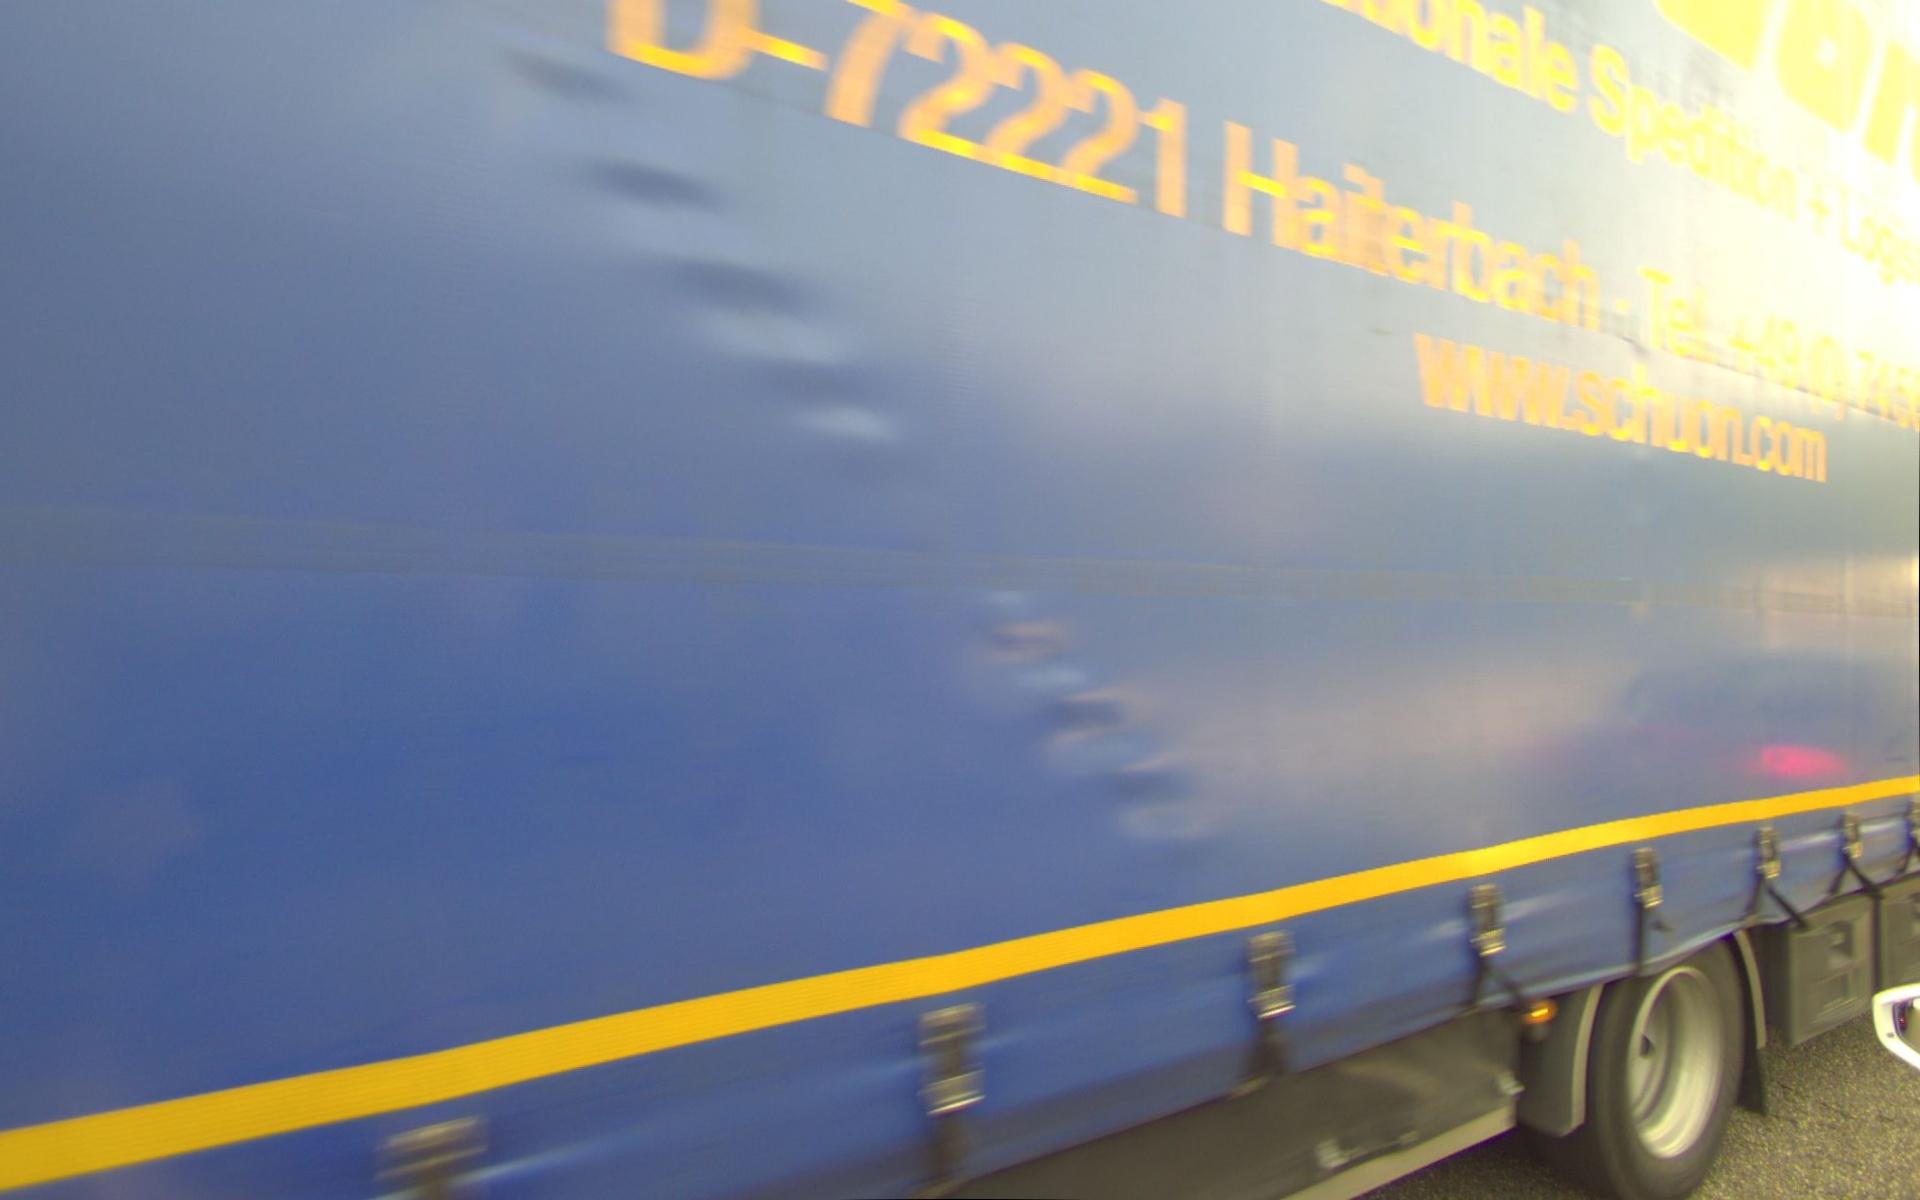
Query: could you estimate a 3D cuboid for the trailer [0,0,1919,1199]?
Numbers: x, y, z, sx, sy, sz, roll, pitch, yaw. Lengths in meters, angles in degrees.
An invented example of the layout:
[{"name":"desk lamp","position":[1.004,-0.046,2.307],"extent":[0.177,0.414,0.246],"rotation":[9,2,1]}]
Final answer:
[{"name":"trailer","position":[-1.603,-0.666,2.050],"extent":[15.139,4.477,3.243],"rotation":[0,0,-31]}]
